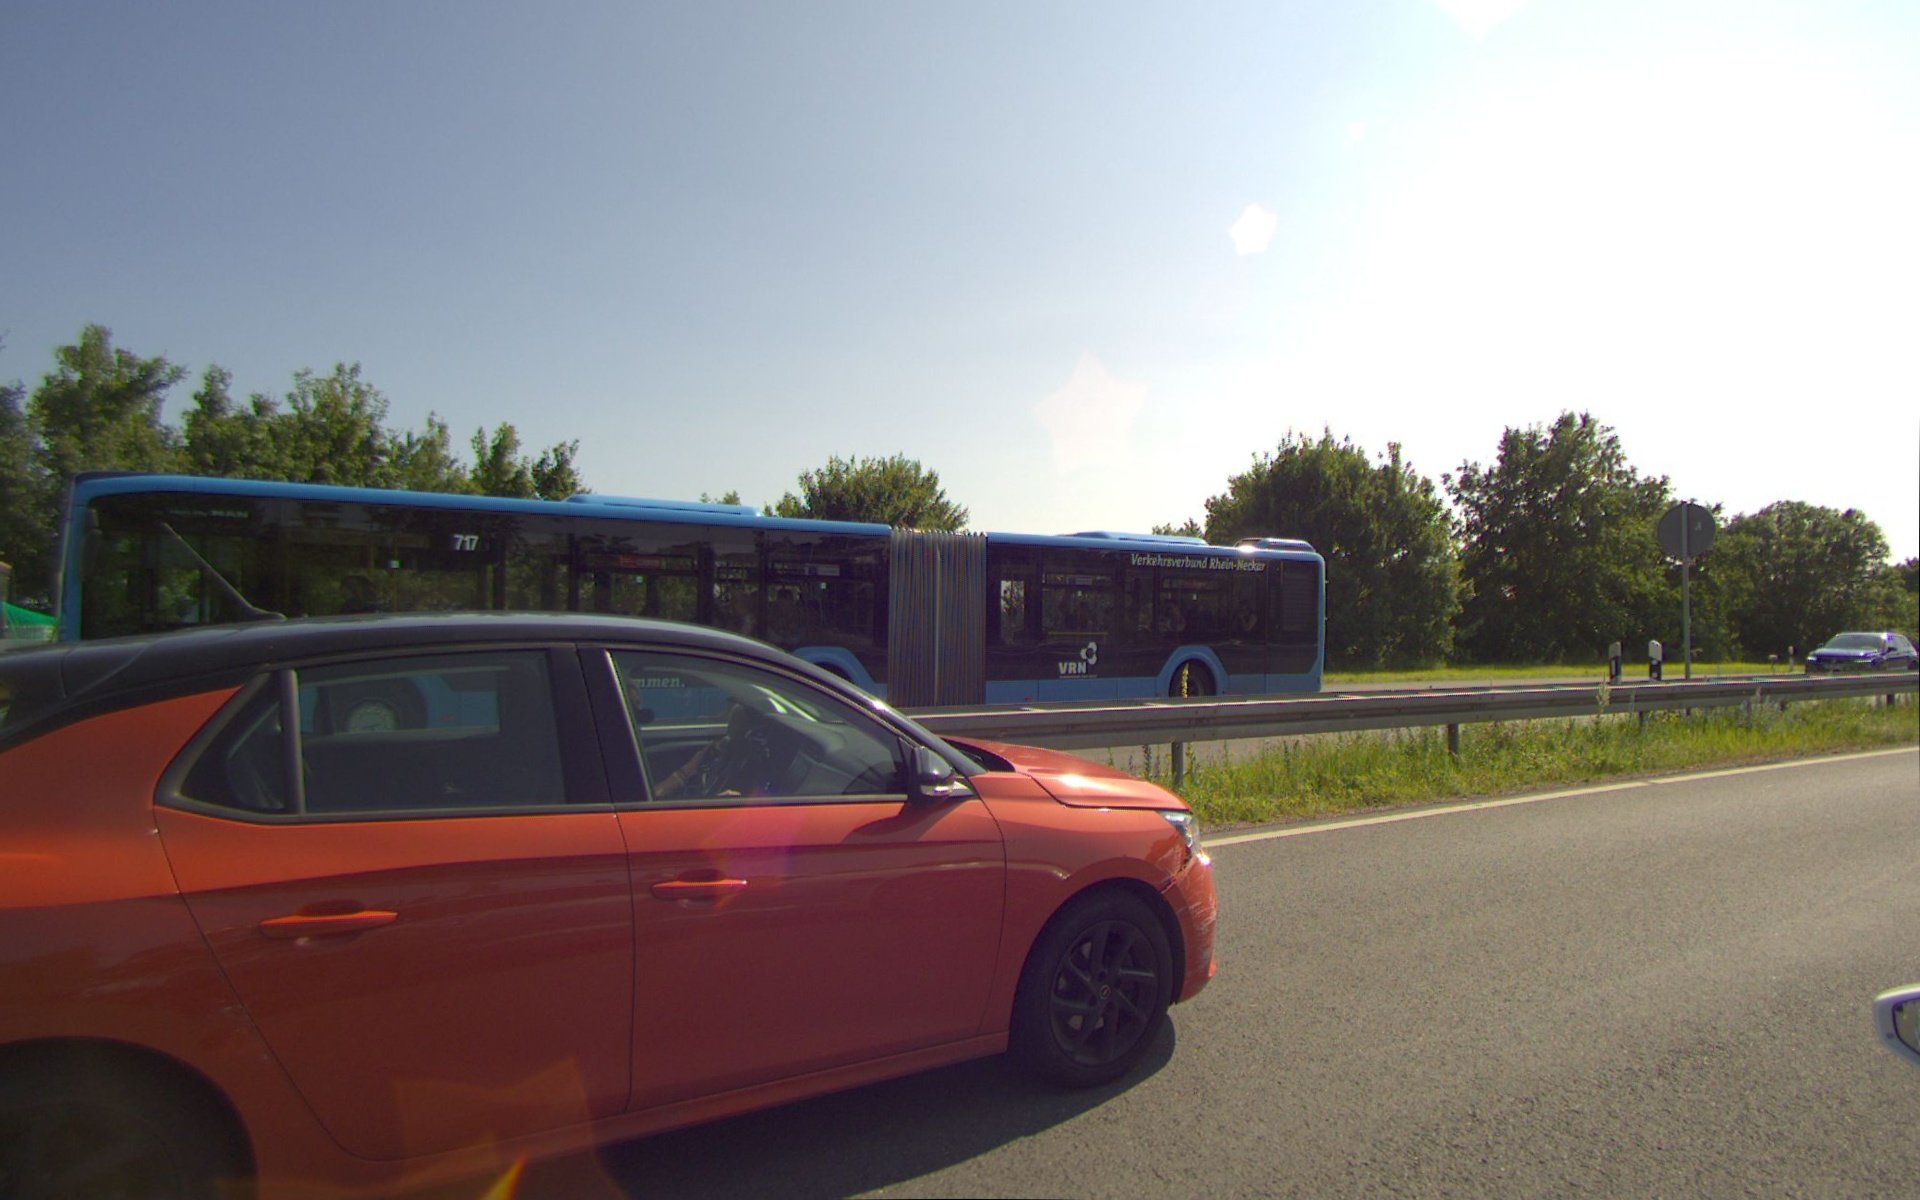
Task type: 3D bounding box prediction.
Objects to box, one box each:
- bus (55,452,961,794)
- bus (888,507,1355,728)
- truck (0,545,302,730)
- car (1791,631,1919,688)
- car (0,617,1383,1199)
[{"bbox_3d":[-4.825,0.318,12.946,9.721,3.151,2.712,1,-2,-31],"label":"bus"},{"bbox_3d":[3.053,0.346,17.620,8.295,3.151,2.712,1,-2,-31],"label":"bus"},{"bbox_3d":[-13.464,0.565,14.399,6.560,2.485,2.110,2,-4,-39],"label":"truck"},{"bbox_3d":[29.472,1.900,33.004,4.223,1.627,1.984,0,0,-30],"label":"car"},{"bbox_3d":[-0.746,0.821,3.317,4.359,1.456,1.701,0,0,-30],"label":"car"}]
